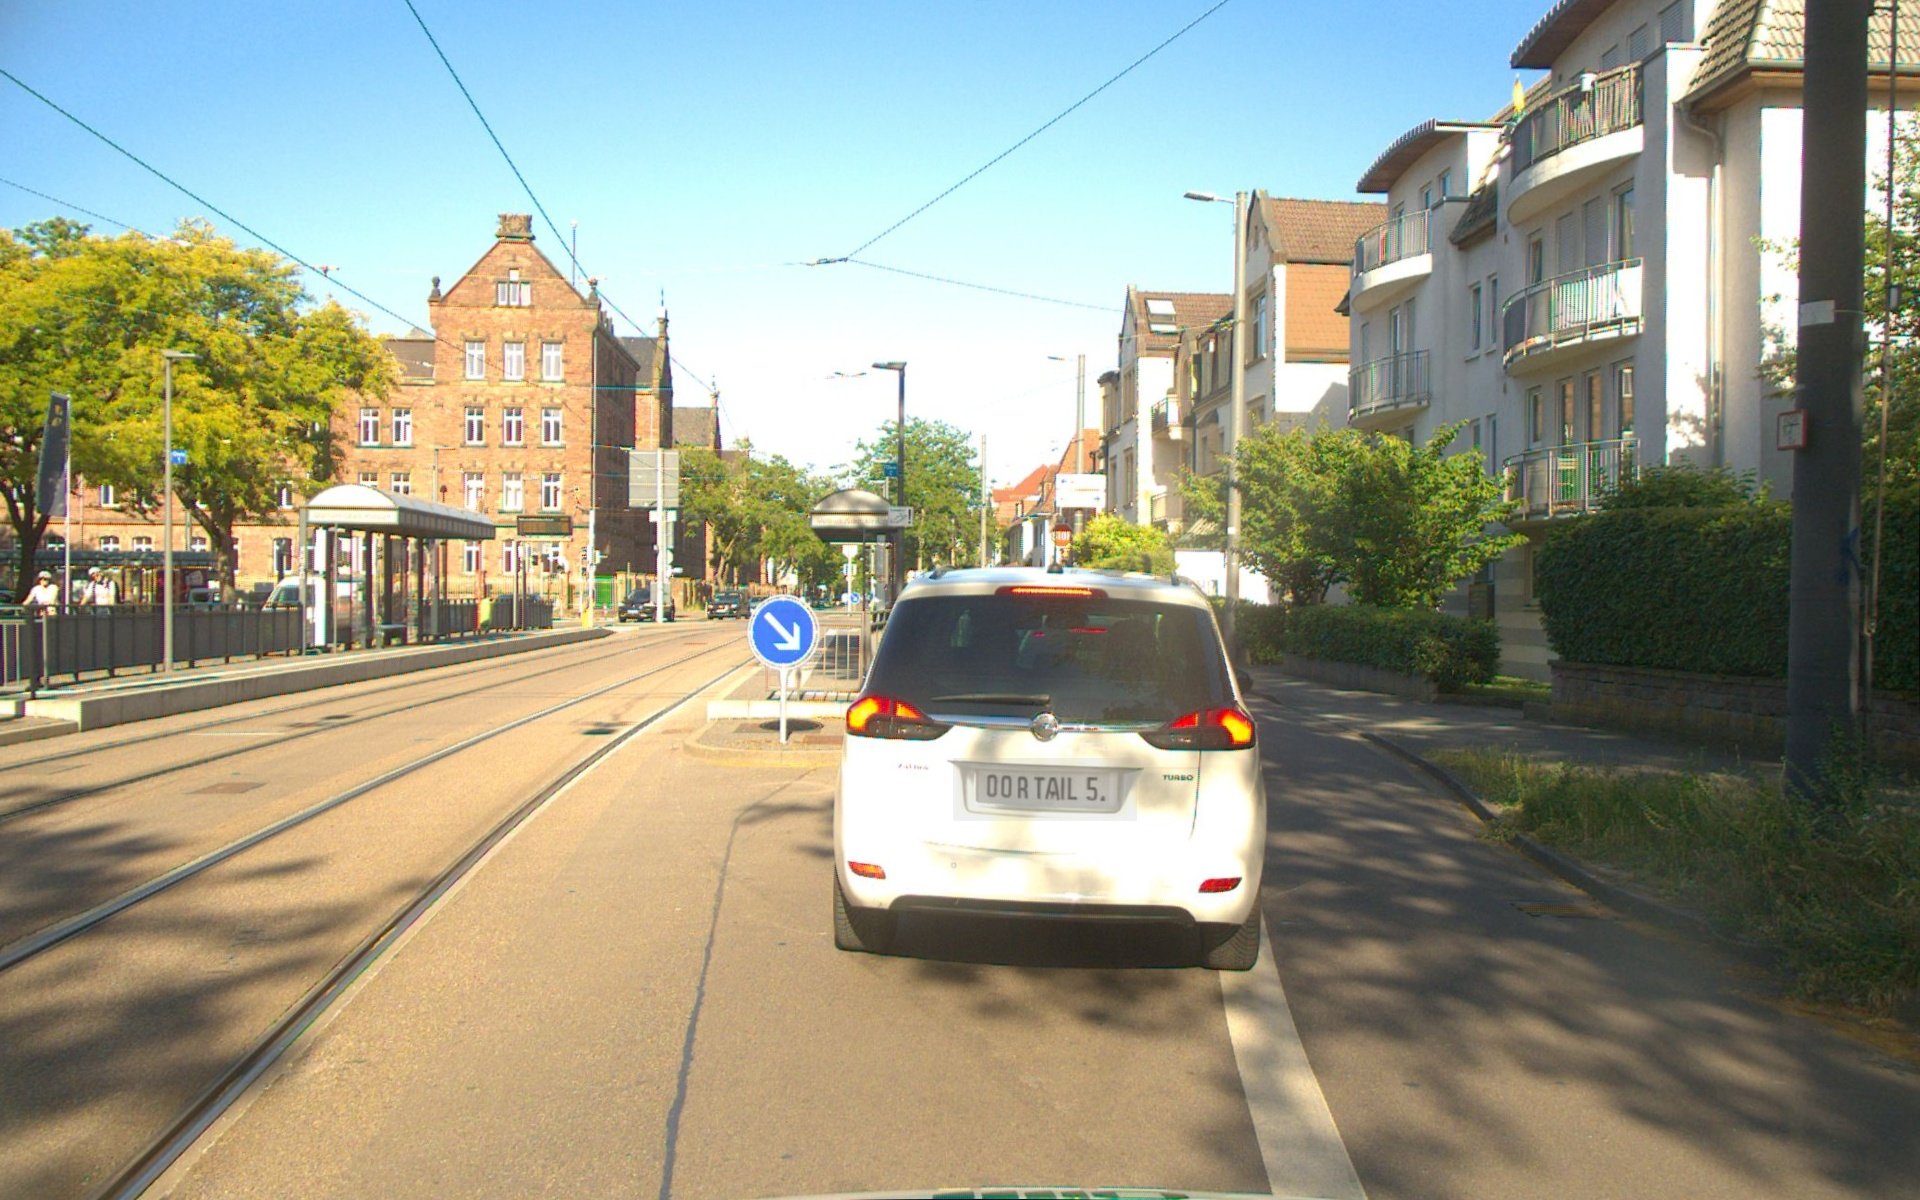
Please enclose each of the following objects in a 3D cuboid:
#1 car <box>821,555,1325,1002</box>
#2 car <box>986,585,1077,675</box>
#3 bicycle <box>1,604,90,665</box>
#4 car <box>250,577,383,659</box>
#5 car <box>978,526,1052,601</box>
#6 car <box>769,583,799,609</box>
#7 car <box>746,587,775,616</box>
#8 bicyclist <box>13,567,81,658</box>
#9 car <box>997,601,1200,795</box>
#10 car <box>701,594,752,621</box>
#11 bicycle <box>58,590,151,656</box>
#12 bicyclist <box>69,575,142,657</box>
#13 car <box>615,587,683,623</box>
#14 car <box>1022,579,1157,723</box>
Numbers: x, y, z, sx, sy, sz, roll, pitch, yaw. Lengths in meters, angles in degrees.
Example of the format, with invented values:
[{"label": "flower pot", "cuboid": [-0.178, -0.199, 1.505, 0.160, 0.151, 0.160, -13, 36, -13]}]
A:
[{"label": "car", "cuboid": [0.568, 0.636, 8.074, 1.838, 1.613, 4.002, 0, 0, 5]}, {"label": "car", "cuboid": [1.409, 0.575, 33.678, 1.563, 1.663, 3.900, 2, 0, -1]}, {"label": "bicycle", "cuboid": [-17.699, 0.647, 32.061, 0.655, 1.091, 2.014, 1, 1, -2]}, {"label": "car", "cuboid": [-14.935, 0.392, 38.599, 1.791, 1.819, 4.250, 0, 0, -6]}, {"label": "car", "cuboid": [1.298, -0.899, 40.218, 1.563, 1.663, 3.901, 2, 1, -1]}, {"label": "car", "cuboid": [-13.958, -0.298, 131.290, 1.952, 2.049, 4.000, 0, 0, 0]}, {"label": "car", "cuboid": [-12.851, 0.098, 106.841, 1.792, 1.819, 4.321, 1, -1, -6]}, {"label": "bicyclist", "cuboid": [-17.697, 0.224, 32.072, 0.637, 1.703, 1.233, 2, 1, -2]}, {"label": "car", "cuboid": [1.230, 0.764, 14.780, 1.536, 1.426, 3.786, 2, 0, 5]}, {"label": "car", "cuboid": [-12.962, 0.433, 92.049, 1.788, 1.471, 4.330, 1, -1, 6]}, {"label": "bicycle", "cuboid": [-16.685, 0.434, 32.317, 0.761, 1.252, 2.088, 0, 0, -2]}, {"label": "bicyclist", "cuboid": [-16.682, 0.307, 32.306, 0.745, 1.563, 1.347, 0, 0, -2]}, {"label": "car", "cuboid": [-14.802, 0.264, 78.936, 1.788, 1.645, 4.331, 1, -1, 9]}, {"label": "car", "cuboid": [1.629, 0.585, 21.375, 1.536, 1.643, 3.786, 2, 0, 3]}]
